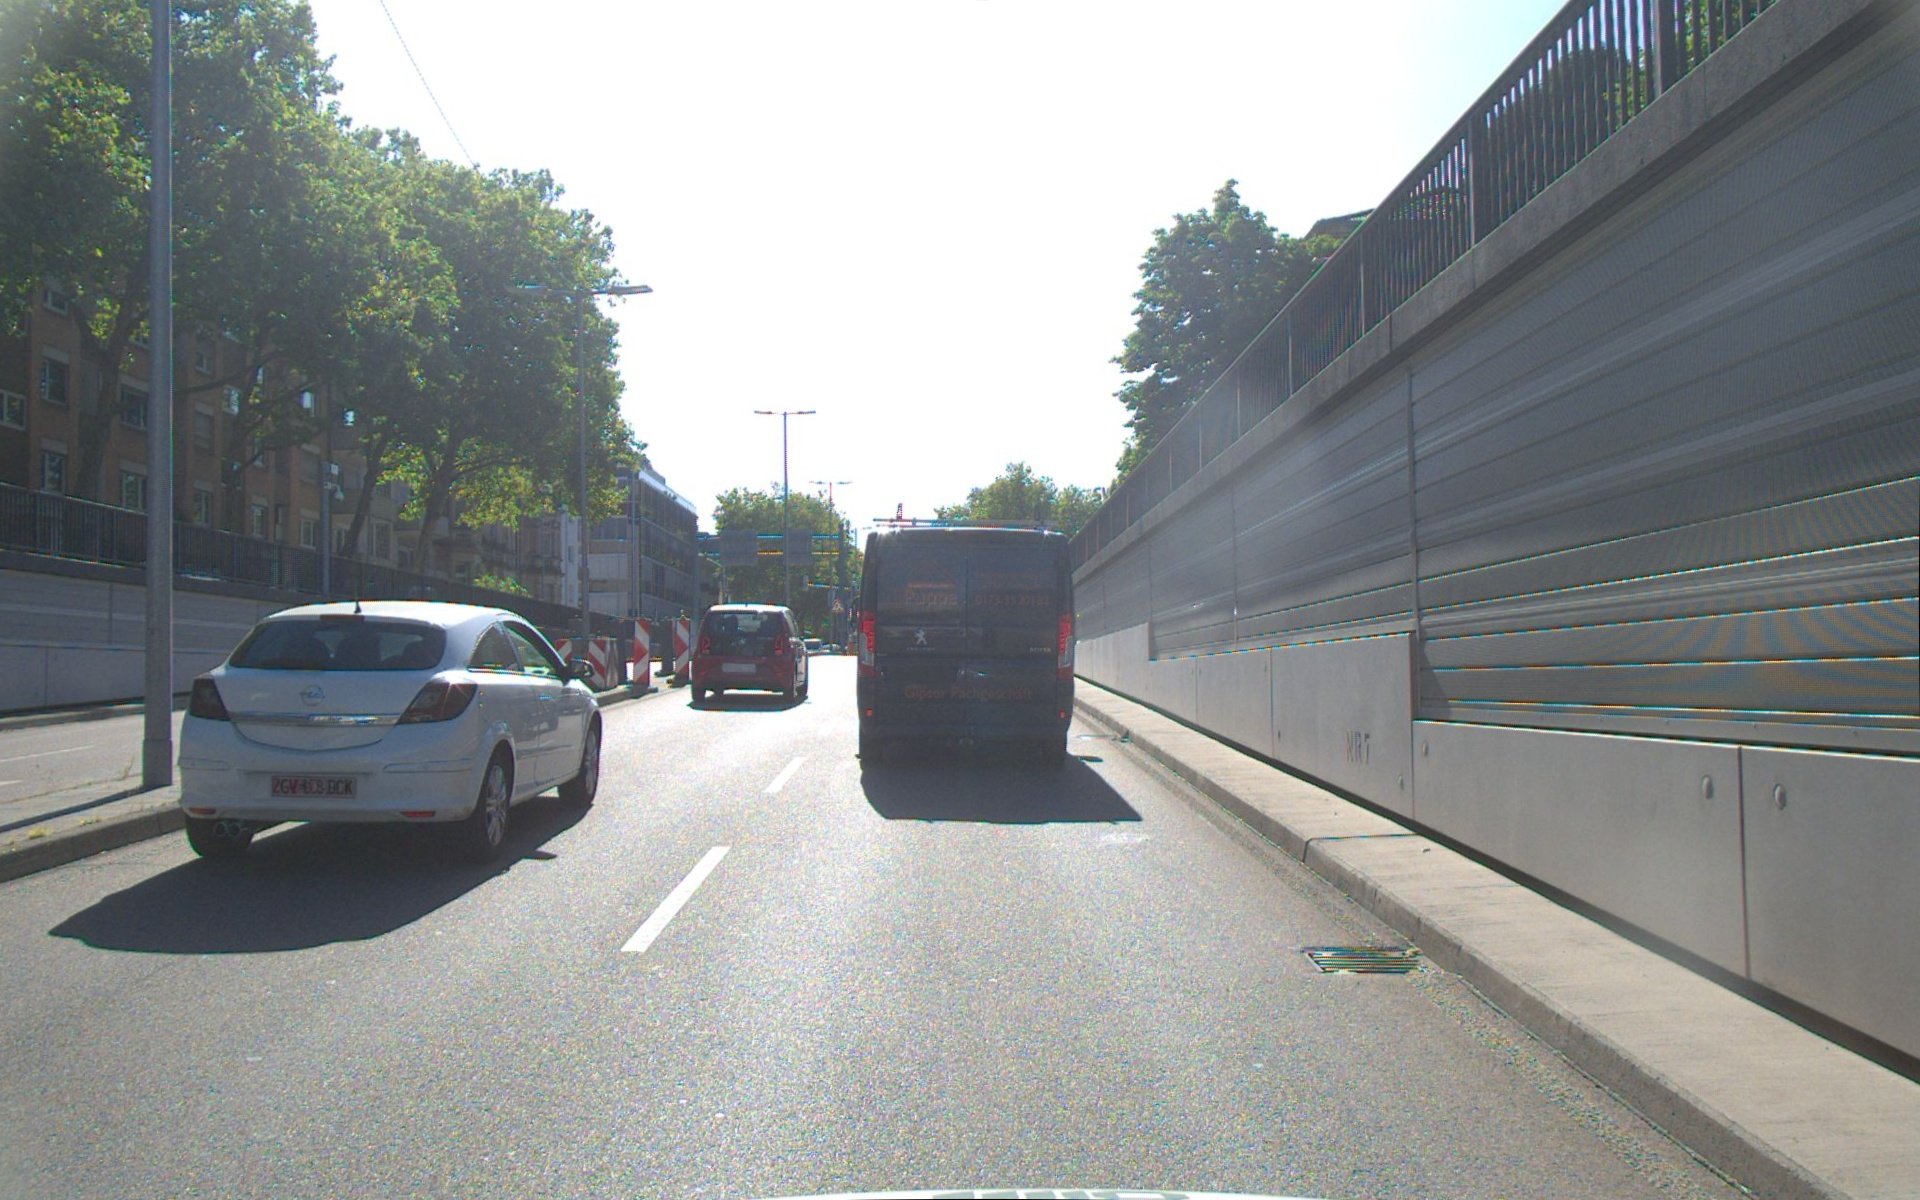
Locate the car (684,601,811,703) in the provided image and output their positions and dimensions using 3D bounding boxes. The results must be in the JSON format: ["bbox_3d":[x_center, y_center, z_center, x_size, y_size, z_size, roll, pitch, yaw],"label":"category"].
[{"bbox_3d":[-3.327,0.782,26.372,1.655,1.509,3.317,1,0,-1],"label":"car"}]

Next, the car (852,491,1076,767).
[{"bbox_3d":[0.006,0.288,16.709,1.989,2.445,3.971,0,-1,-1],"label":"car"}]

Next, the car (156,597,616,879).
[{"bbox_3d":[-3.332,0.737,10.387,1.586,1.428,3.850,1,-1,-1],"label":"car"}]
